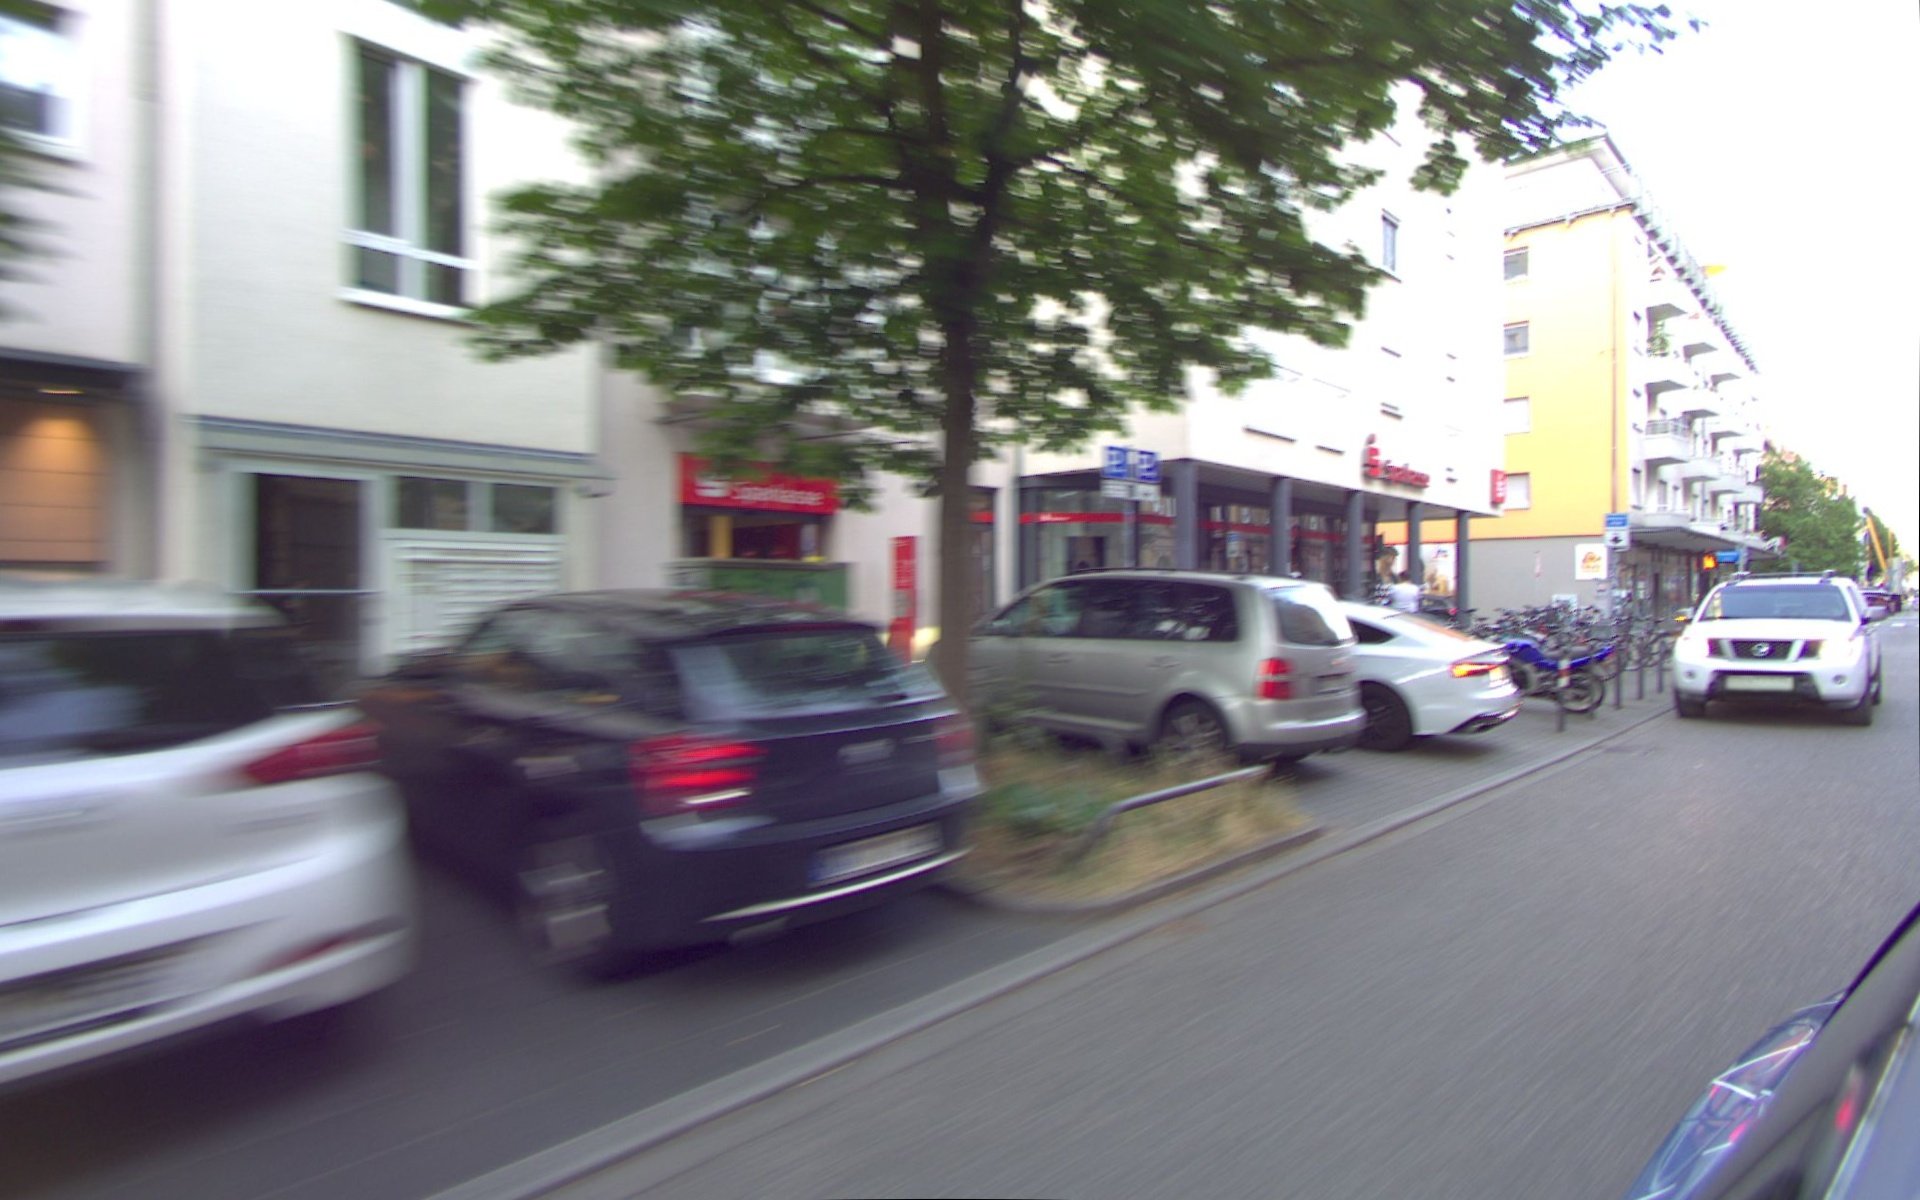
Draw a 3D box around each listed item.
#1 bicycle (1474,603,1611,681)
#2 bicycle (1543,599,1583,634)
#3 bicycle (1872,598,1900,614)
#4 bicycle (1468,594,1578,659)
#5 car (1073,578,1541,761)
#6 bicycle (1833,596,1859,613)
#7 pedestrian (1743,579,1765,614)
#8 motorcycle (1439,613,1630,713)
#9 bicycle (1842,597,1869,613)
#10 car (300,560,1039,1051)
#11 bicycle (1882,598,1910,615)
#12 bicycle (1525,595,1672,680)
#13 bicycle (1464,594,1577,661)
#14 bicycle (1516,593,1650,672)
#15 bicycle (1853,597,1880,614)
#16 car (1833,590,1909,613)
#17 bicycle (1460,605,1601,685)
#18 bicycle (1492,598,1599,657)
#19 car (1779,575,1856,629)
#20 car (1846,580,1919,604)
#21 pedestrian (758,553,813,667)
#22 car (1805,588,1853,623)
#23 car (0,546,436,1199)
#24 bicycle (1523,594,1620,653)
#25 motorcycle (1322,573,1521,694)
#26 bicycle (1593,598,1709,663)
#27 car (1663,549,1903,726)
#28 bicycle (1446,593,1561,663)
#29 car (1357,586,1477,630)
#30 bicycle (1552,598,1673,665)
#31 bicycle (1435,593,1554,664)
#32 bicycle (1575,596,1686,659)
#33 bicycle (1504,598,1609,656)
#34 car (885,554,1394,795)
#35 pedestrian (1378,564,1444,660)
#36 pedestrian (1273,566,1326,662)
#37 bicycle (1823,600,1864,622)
[{"bbox_3d":[9.251,0.631,16.129,0.656,1.043,1.723,-1,5,-42],"label":"bicycle"},{"bbox_3d":[20.174,0.550,33.847,1.929,1.080,0.563,-2,2,-41],"label":"bicycle"},{"bbox_3d":[69.826,0.441,76.358,0.656,1.183,2.105,2,1,17],"label":"bicycle"},{"bbox_3d":[10.854,0.484,19.544,0.642,1.131,1.725,0,2,-42],"label":"bicycle"},{"bbox_3d":[3.562,0.563,10.869,4.417,1.473,1.754,3,2,39],"label":"car"},{"bbox_3d":[67.302,0.335,76.873,0.656,1.180,2.105,2,1,17],"label":"bicycle"},{"bbox_3d":[38.350,-0.184,48.881,0.709,1.686,0.733,2,2,44],"label":"pedestrian"},{"bbox_3d":[7.300,0.768,12.946,2.047,1.091,0.657,2,2,30],"label":"motorcycle"},{"bbox_3d":[67.865,0.367,76.704,0.656,1.145,2.105,2,1,17],"label":"bicycle"},{"bbox_3d":[-1.728,0.576,5.123,3.986,1.474,1.800,3,2,43],"label":"car"},{"bbox_3d":[70.137,0.461,75.866,0.656,1.183,2.105,2,1,17],"label":"bicycle"},{"bbox_3d":[10.516,0.575,16.723,0.730,1.196,1.874,-1,4,-40],"label":"bicycle"},{"bbox_3d":[10.539,0.490,19.065,0.642,1.131,1.725,0,2,-42],"label":"bicycle"},{"bbox_3d":[10.824,0.530,17.634,0.720,1.196,1.796,0,4,-34],"label":"bicycle"},{"bbox_3d":[68.527,0.405,76.535,0.656,1.145,2.105,2,1,17],"label":"bicycle"},{"bbox_3d":[70.584,0.091,78.436,3.940,1.689,1.820,-1,0,14],"label":"car"},{"bbox_3d":[8.816,0.659,15.702,0.555,1.034,1.776,-1,4,-42],"label":"bicycle"},{"bbox_3d":[11.719,0.525,20.289,0.642,1.067,1.725,0,3,-42],"label":"bicycle"},{"bbox_3d":[34.337,0.054,40.487,1.960,1.998,4.921,3,2,45],"label":"car"},{"bbox_3d":[90.363,-0.821,98.894,5.082,2.222,2.324,-1,0,20],"label":"car"},{"bbox_3d":[-2.794,0.151,16.170,0.625,1.775,0.579,-1,0,43],"label":"pedestrian"},{"bbox_3d":[40.572,0.218,47.206,1.592,1.519,3.371,2,2,42],"label":"car"},{"bbox_3d":[-3.555,0.564,3.575,3.790,1.470,1.710,4,2,40],"label":"car"},{"bbox_3d":[12.932,0.471,21.437,1.716,1.145,0.572,2,2,34],"label":"bicycle"},{"bbox_3d":[6.696,0.423,14.830,0.810,1.568,2.496,-1,3,-42],"label":"motorcycle"},{"bbox_3d":[13.202,0.557,19.357,1.722,1.131,0.696,3,3,44],"label":"bicycle"},{"bbox_3d":[10.929,0.372,13.272,1.911,1.876,5.185,-1,0,45],"label":"car"},{"bbox_3d":[9.805,0.475,18.293,1.722,1.131,0.644,3,2,42],"label":"bicycle"},{"bbox_3d":[16.747,0.258,37.169,1.677,1.494,3.671,-2,1,-43],"label":"car"},{"bbox_3d":[12.317,0.571,19.150,1.809,1.131,0.696,3,3,44],"label":"bicycle"},{"bbox_3d":[9.349,0.472,17.745,1.722,1.131,0.644,3,2,42],"label":"bicycle"},{"bbox_3d":[13.438,0.529,20.325,0.695,1.131,1.725,0,2,-42],"label":"bicycle"},{"bbox_3d":[12.204,0.520,20.738,0.642,1.067,1.725,0,3,-42],"label":"bicycle"},{"bbox_3d":[1.409,0.452,9.302,4.401,1.668,1.718,3,2,45],"label":"car"},{"bbox_3d":[8.539,0.212,19.195,0.898,1.745,0.774,3,0,8],"label":"pedestrian"},{"bbox_3d":[6.370,0.253,18.992,0.649,1.745,0.666,2,0,-11],"label":"pedestrian"},{"bbox_3d":[44.877,0.561,51.403,0.501,1.014,1.483,-1,2,-38],"label":"bicycle"}]
